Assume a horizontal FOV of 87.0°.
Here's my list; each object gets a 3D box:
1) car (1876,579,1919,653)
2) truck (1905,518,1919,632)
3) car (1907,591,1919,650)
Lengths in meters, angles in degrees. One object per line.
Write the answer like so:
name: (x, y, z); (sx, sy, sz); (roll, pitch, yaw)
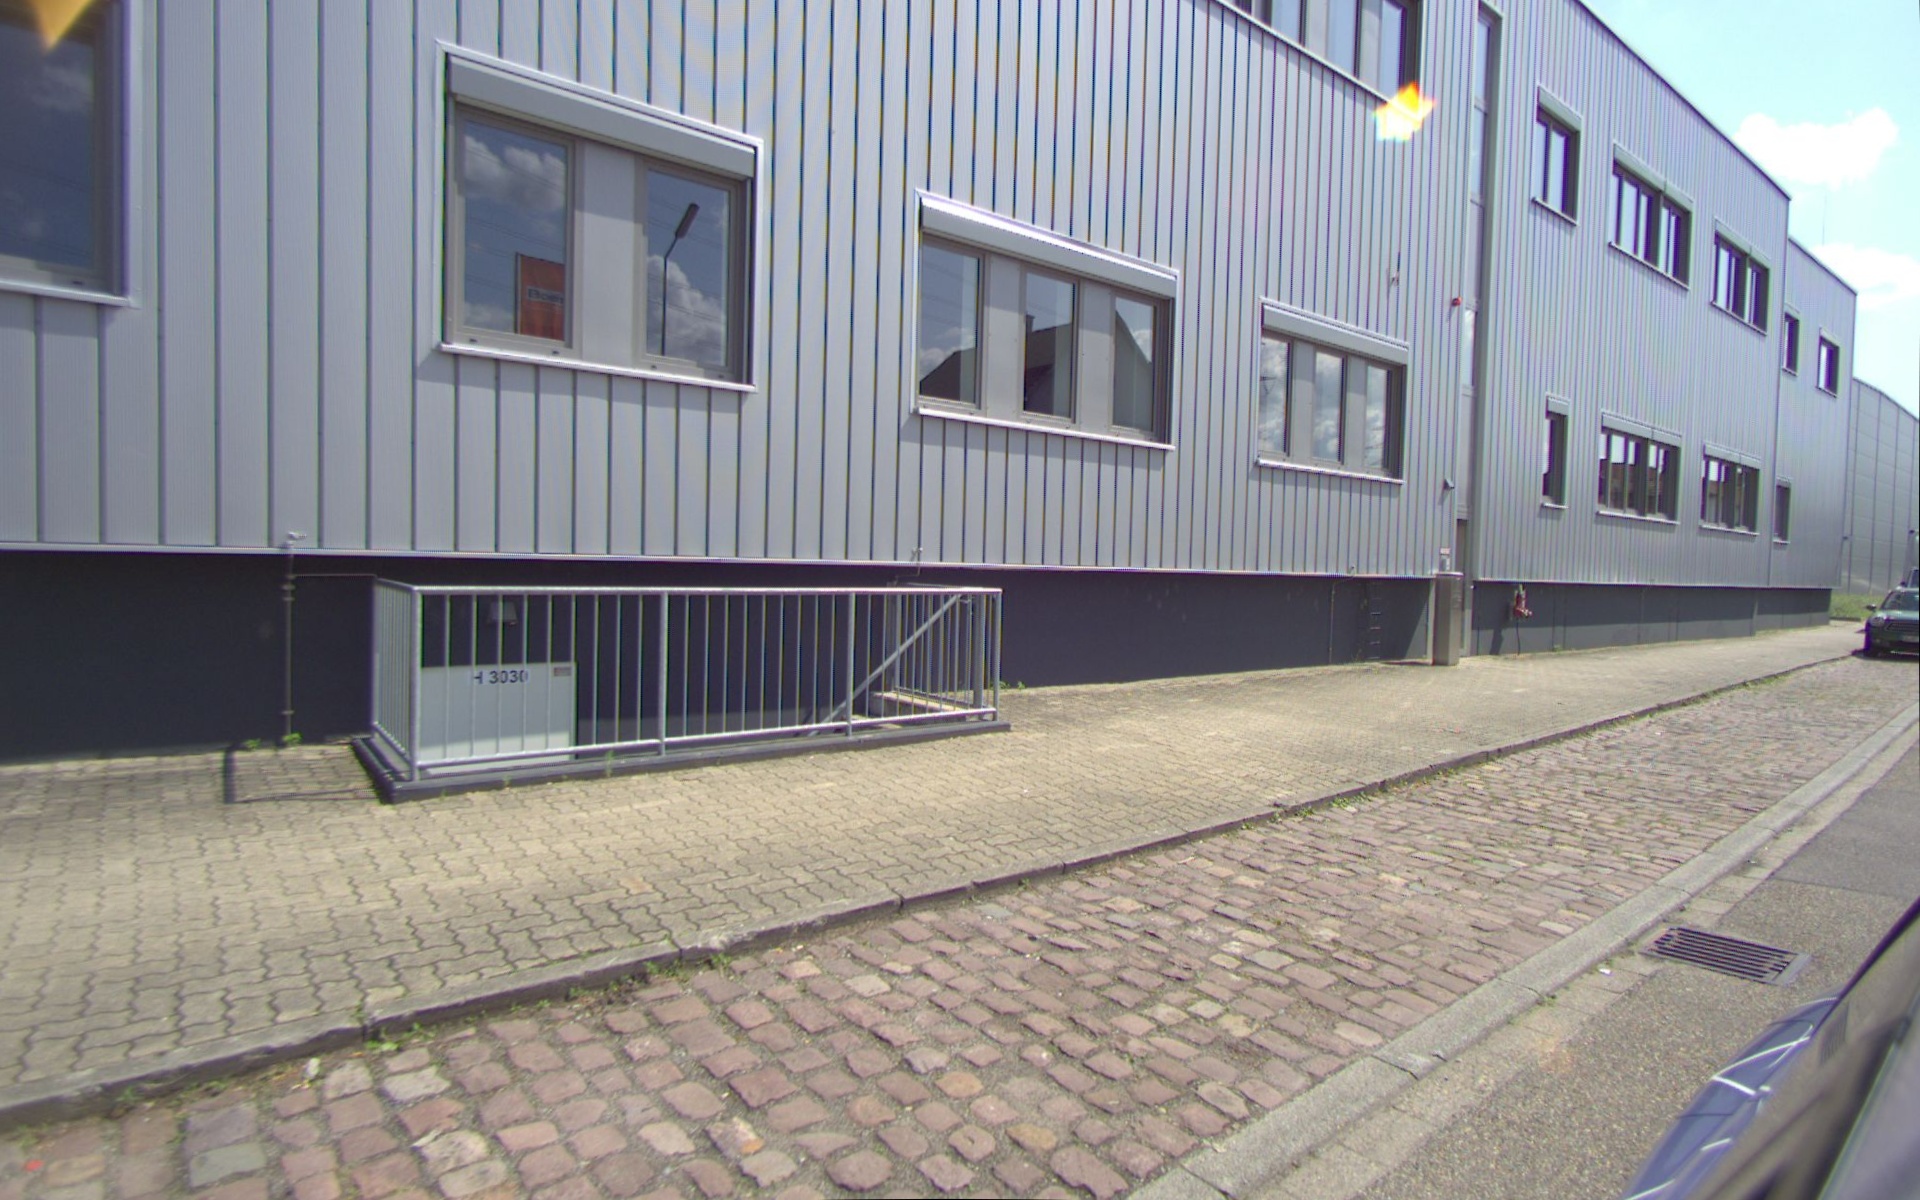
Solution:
car: (21.641, 0.306, 22.296); (4.044, 1.530, 1.712); (-1, 0, -42)
truck: (31.219, -0.791, 31.246); (7.946, 3.266, 2.602); (-1, 0, -44)
car: (26.184, 0.488, 26.440); (4.184, 1.451, 1.712); (-1, 0, -42)
